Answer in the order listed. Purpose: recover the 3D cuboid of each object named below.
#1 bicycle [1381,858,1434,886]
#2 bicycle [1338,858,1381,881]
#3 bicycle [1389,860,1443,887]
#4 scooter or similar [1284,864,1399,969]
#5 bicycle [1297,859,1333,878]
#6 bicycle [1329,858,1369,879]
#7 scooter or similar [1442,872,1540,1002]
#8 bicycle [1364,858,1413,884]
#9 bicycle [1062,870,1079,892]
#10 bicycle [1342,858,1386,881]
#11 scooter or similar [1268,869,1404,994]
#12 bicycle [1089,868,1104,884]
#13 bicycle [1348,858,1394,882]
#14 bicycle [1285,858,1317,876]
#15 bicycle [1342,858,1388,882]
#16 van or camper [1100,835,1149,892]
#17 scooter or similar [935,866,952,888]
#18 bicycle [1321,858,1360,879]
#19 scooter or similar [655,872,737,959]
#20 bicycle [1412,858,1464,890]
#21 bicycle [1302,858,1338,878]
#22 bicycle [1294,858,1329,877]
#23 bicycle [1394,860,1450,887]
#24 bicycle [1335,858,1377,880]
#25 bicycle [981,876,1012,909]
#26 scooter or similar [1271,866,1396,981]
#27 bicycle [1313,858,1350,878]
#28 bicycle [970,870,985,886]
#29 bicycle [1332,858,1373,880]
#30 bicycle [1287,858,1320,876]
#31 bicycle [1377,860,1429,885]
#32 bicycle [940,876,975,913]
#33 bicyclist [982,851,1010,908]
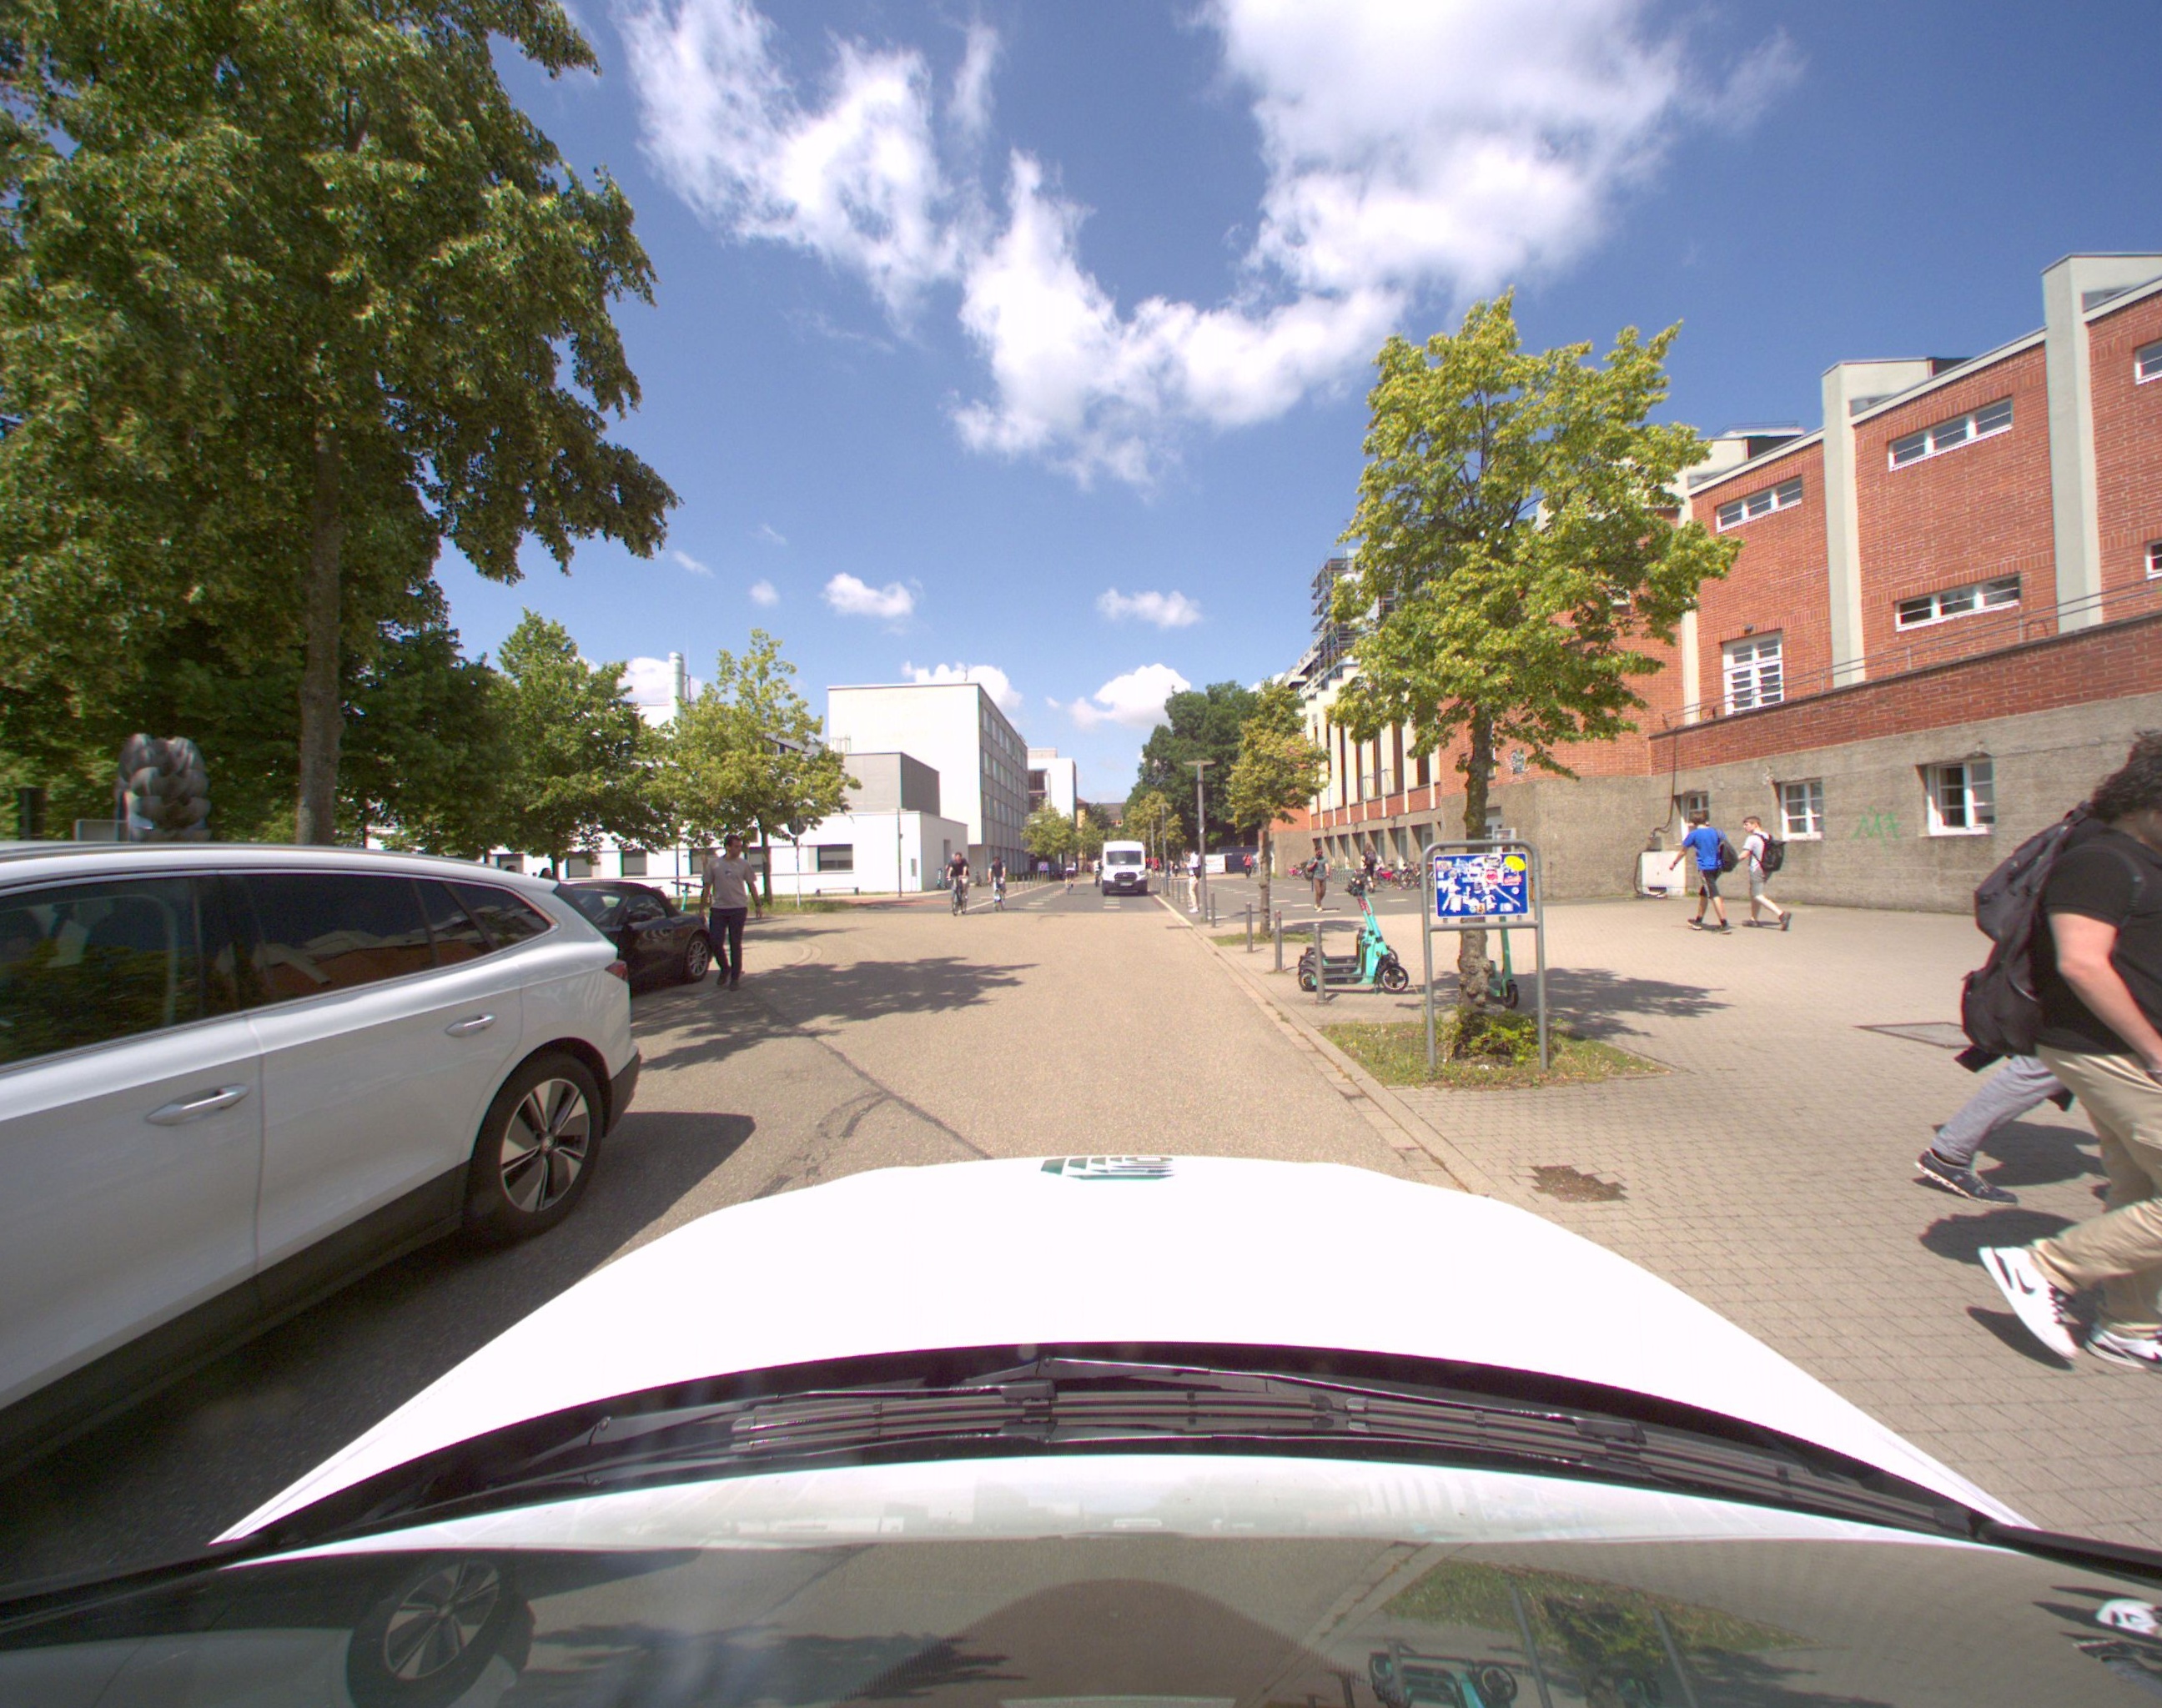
[{"bbox_3d":[12.693,0.699,31.694,1.802,0.985,0.560,-3,-1,1],"label":"bicycle"},{"bbox_3d":[13.313,0.724,38.956,1.802,0.985,0.560,-3,-1,1],"label":"bicycle"},{"bbox_3d":[12.730,0.733,30.992,1.802,0.912,0.560,-3,-1,1],"label":"bicycle"},{"bbox_3d":[3.363,0.787,10.527,1.248,1.265,0.644,-2,-1,34],"label":"scooter or similar"},{"bbox_3d":[13.248,0.803,46.106,1.802,0.985,0.560,-3,-1,1],"label":"bicycle"},{"bbox_3d":[13.417,0.725,40.779,1.802,0.985,0.560,-3,-1,1],"label":"bicycle"},{"bbox_3d":[4.055,0.778,8.135,0.643,1.160,1.270,-2,-1,18],"label":"scooter or similar"},{"bbox_3d":[12.924,0.699,34.210,1.802,0.985,0.560,-3,-1,1],"label":"bicycle"},{"bbox_3d":[-0.526,1.268,39.028,0.705,0.993,1.908,-3,-1,-3],"label":"bicycle"},{"bbox_3d":[13.322,0.731,38.353,1.802,0.985,0.560,-3,-1,1],"label":"bicycle"},{"bbox_3d":[2.799,0.815,8.957,1.248,1.265,0.655,-2,-1,34],"label":"scooter or similar"},{"bbox_3d":[1.022,1.441,52.176,0.804,1.002,2.126,-1,-2,5],"label":"bicycle"},{"bbox_3d":[12.854,0.705,36.154,1.802,0.985,0.560,-3,-1,1],"label":"bicycle"},{"bbox_3d":[13.541,0.808,50.107,1.802,0.985,0.560,-3,-1,1],"label":"bicycle"},{"bbox_3d":[12.818,0.707,36.785,1.802,0.985,0.560,-3,-1,1],"label":"bicycle"},{"bbox_3d":[1.929,0.454,37.277,1.987,2.446,4.568,-1,-1,0],"label":"van or camper"},{"bbox_3d":[-7.601,1.266,44.964,0.374,1.216,1.211,-2,-1,19],"label":"scooter or similar"},{"bbox_3d":[13.620,0.747,42.725,1.802,0.985,0.560,-3,-1,1],"label":"bicycle"},{"bbox_3d":[-6.255,0.973,13.282,0.500,1.299,1.220,-3,0,14],"label":"scooter or similar"},{"bbox_3d":[12.443,0.704,28.391,1.529,1.033,0.560,-2,-1,1],"label":"bicycle"},{"bbox_3d":[13.299,0.783,45.275,1.802,0.985,0.560,-3,-1,1],"label":"bicycle"},{"bbox_3d":[13.259,0.792,46.812,1.802,0.985,0.560,-3,-1,1],"label":"bicycle"},{"bbox_3d":[12.617,0.725,30.191,1.802,0.912,0.560,-3,-1,1],"label":"bicycle"},{"bbox_3d":[13.354,0.723,39.543,1.802,0.985,0.560,-3,-1,1],"label":"bicycle"},{"bbox_3d":[-2.614,1.178,25.295,0.674,0.965,2.004,0,-1,2],"label":"bicycle"},{"bbox_3d":[3.004,0.802,9.725,1.248,1.265,0.655,-2,-1,34],"label":"scooter or similar"},{"bbox_3d":[13.509,0.770,43.929,1.802,0.985,0.560,-3,-1,1],"label":"bicycle"},{"bbox_3d":[-6.633,1.542,52.289,0.520,0.985,1.635,-3,-1,7],"label":"bicycle"},{"bbox_3d":[13.396,0.728,40.156,1.802,0.985,0.560,-3,-1,1],"label":"bicycle"},{"bbox_3d":[13.430,0.805,49.209,1.802,0.985,0.560,-3,-1,1],"label":"bicycle"},{"bbox_3d":[12.829,0.743,32.448,1.802,0.912,0.560,-3,-1,1],"label":"bicycle"},{"bbox_3d":[-3.488,1.130,23.216,0.674,0.965,2.003,0,-1,0],"label":"bicycle"},{"bbox_3d":[-2.621,0.780,25.256,0.665,1.682,0.993,-2,-1,1],"label":"bicyclist"}]
